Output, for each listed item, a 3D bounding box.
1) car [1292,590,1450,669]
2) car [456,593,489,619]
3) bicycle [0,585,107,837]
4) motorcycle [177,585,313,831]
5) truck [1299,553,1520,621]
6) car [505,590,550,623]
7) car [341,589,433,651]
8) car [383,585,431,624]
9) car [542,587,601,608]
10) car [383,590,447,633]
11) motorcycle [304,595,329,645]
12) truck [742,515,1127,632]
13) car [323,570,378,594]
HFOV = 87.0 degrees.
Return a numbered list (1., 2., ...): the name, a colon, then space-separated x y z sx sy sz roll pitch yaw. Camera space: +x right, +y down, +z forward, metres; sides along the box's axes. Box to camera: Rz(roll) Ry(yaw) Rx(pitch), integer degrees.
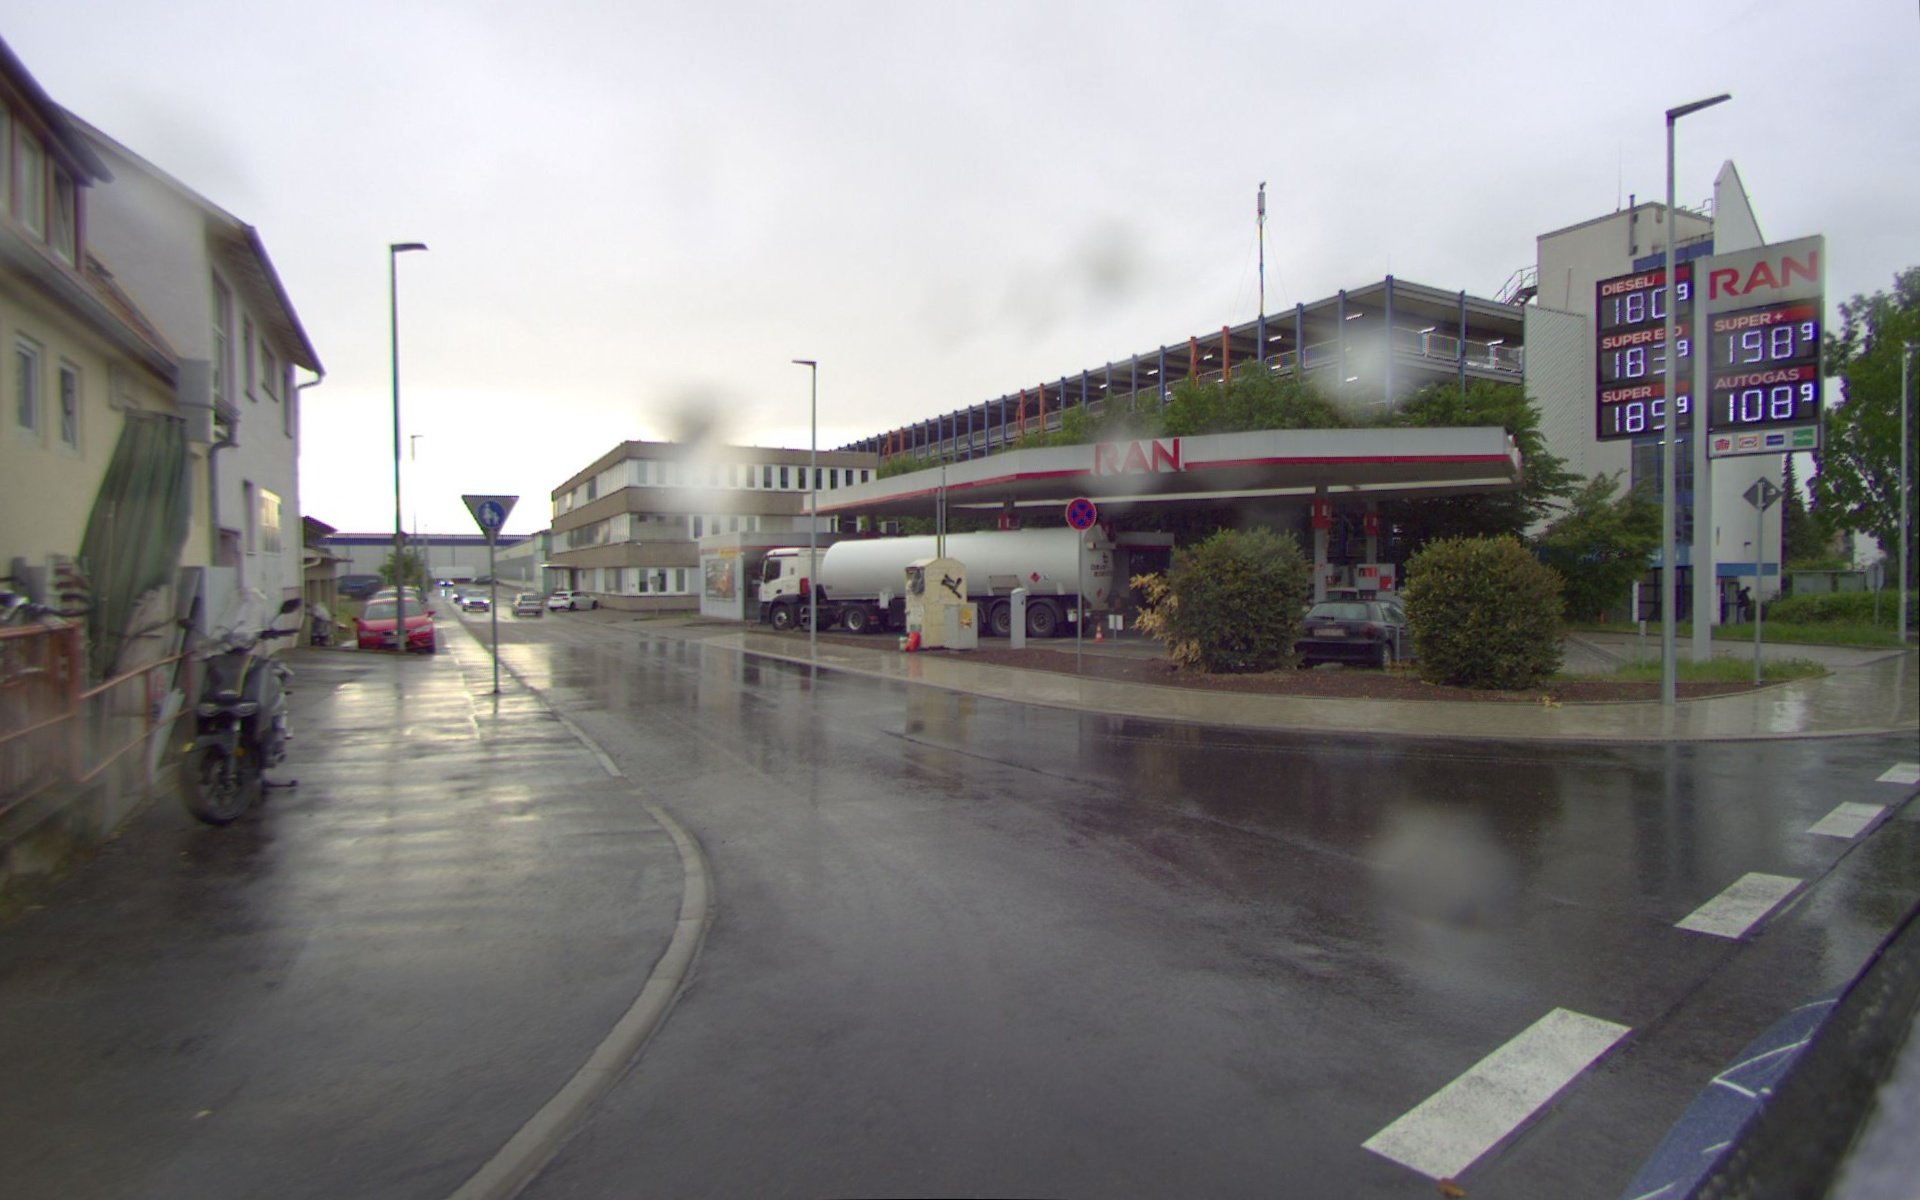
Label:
1. car: 8.196 0.502 19.968 1.687 1.356 4.277 1 1 40
2. car: -36.013 0.414 74.734 1.960 1.805 4.005 -1 1 -29
3. bicycle: -4.654 0.481 4.806 0.479 1.110 1.778 1 0 -26
4. motorcycle: -4.949 0.634 7.102 0.479 1.475 2.042 0 1 -27
5. truck: 16.663 -0.551 38.000 2.051 2.234 7.281 3 0 -45
6. car: -28.725 0.374 67.112 1.962 2.039 4.000 0 1 -35
7. car: -15.075 0.466 26.622 1.960 1.393 4.264 0 2 -30
8. car: -27.314 0.166 49.987 1.960 1.805 4.005 -1 1 -29
9. car: -28.342 -0.211 73.924 1.968 1.456 4.535 0 1 11
10. car: -21.262 0.416 39.613 1.959 1.527 4.204 1 1 -25
11. motorcycle: -15.829 0.460 24.882 0.480 1.165 2.040 -1 1 -34
12. truck: -1.419 -0.752 34.406 14.316 3.403 2.614 0 -2 35
13. car: -61.332 -1.831 101.896 4.692 2.314 2.001 -1 -1 -33
